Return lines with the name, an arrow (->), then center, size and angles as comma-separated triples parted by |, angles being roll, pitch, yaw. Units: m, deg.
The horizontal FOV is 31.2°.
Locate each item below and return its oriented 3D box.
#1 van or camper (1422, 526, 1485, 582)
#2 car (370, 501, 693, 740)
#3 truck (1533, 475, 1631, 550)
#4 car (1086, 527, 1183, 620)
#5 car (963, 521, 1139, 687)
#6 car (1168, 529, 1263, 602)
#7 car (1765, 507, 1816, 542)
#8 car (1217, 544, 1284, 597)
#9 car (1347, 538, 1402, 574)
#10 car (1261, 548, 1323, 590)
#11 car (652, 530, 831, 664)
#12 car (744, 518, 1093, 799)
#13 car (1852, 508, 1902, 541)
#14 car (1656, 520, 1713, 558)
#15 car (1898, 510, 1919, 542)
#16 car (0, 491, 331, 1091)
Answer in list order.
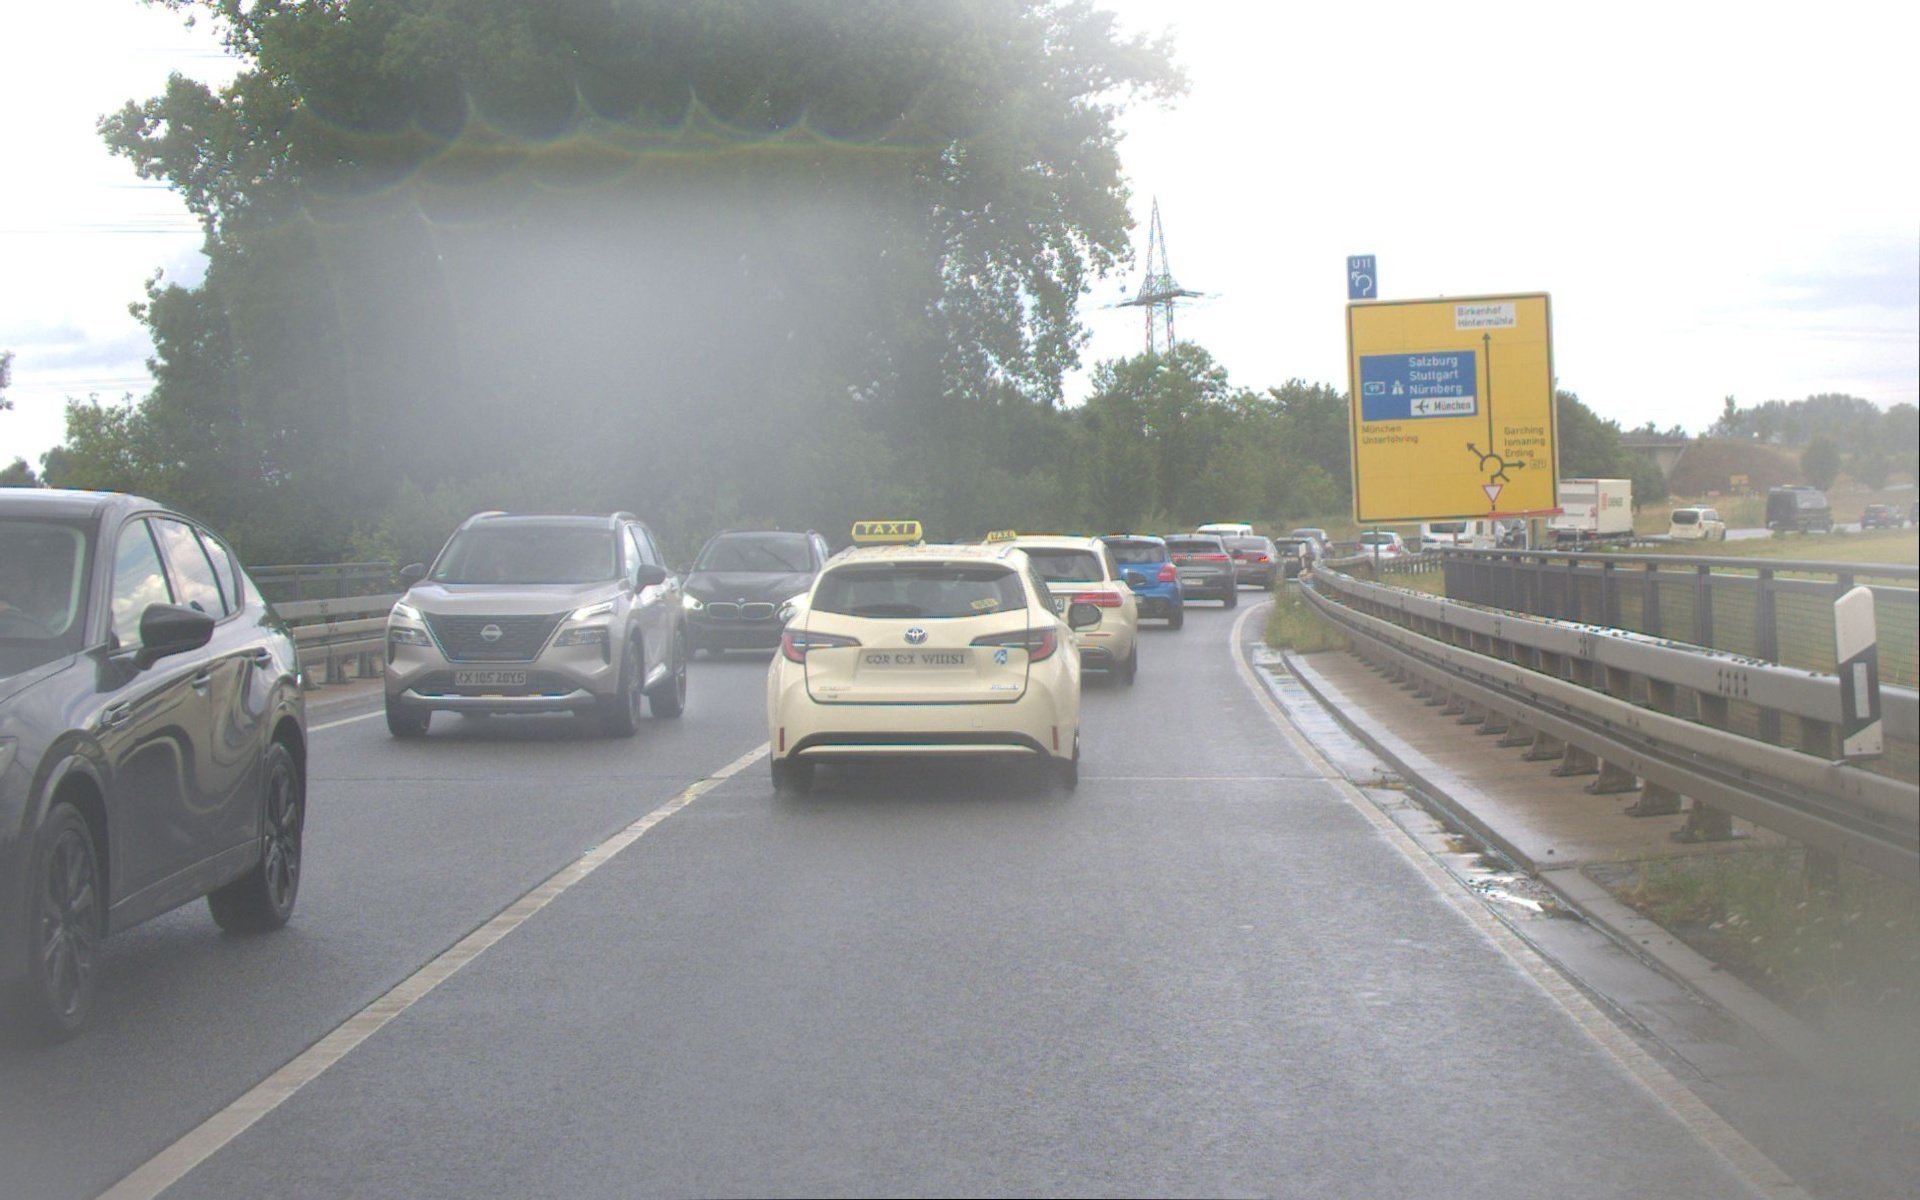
van or camper -> 20.360, -1.879, 141.682 | 1.995, 2.246, 3.997 | 0, 0, 16
car -> -3.246, 0.082, 26.842 | 1.841, 1.694, 4.389 | 1, 2, 2
truck -> 30.576, -4.260, 168.782 | 3.144, 3.550, 7.512 | 0, 0, 23
car -> 2.785, -0.434, 55.091 | 1.506, 1.432, 3.355 | 0, 1, 3
car -> 0.953, 0.010, 34.360 | 1.578, 1.567, 3.681 | 0, 1, 4
car -> 5.224, -0.712, 70.041 | 1.666, 1.459, 3.476 | 0, 1, 9
car -> 49.298, -4.492, 204.025 | 1.997, 2.007, 3.993 | 0, 0, 29
car -> 7.912, -0.774, 93.447 | 1.661, 1.404, 3.903 | 0, 0, 7
car -> 15.162, -1.615, 125.683 | 1.484, 1.304, 3.474 | 0, 1, 16
car -> 10.508, -0.979, 108.607 | 1.483, 1.304, 3.475 | 0, 1, 13
car -> -2.616, -0.074, 41.910 | 1.899, 1.536, 4.023 | 0, 1, 0
car -> -0.173, 0.295, 20.851 | 1.906, 1.532, 4.161 | 0, 1, 1
car -> 57.898, -4.770, 217.013 | 2.229, 2.007, 3.994 | 0, 0, 28
car -> 39.738, -3.333, 188.553 | 2.169, 2.007, 3.994 | 0, 0, 25
car -> 63.040, -4.848, 225.108 | 1.997, 2.007, 3.992 | 0, 0, 33
car -> -3.468, 0.467, 11.661 | 1.746, 1.648, 4.525 | 0, 2, 1
